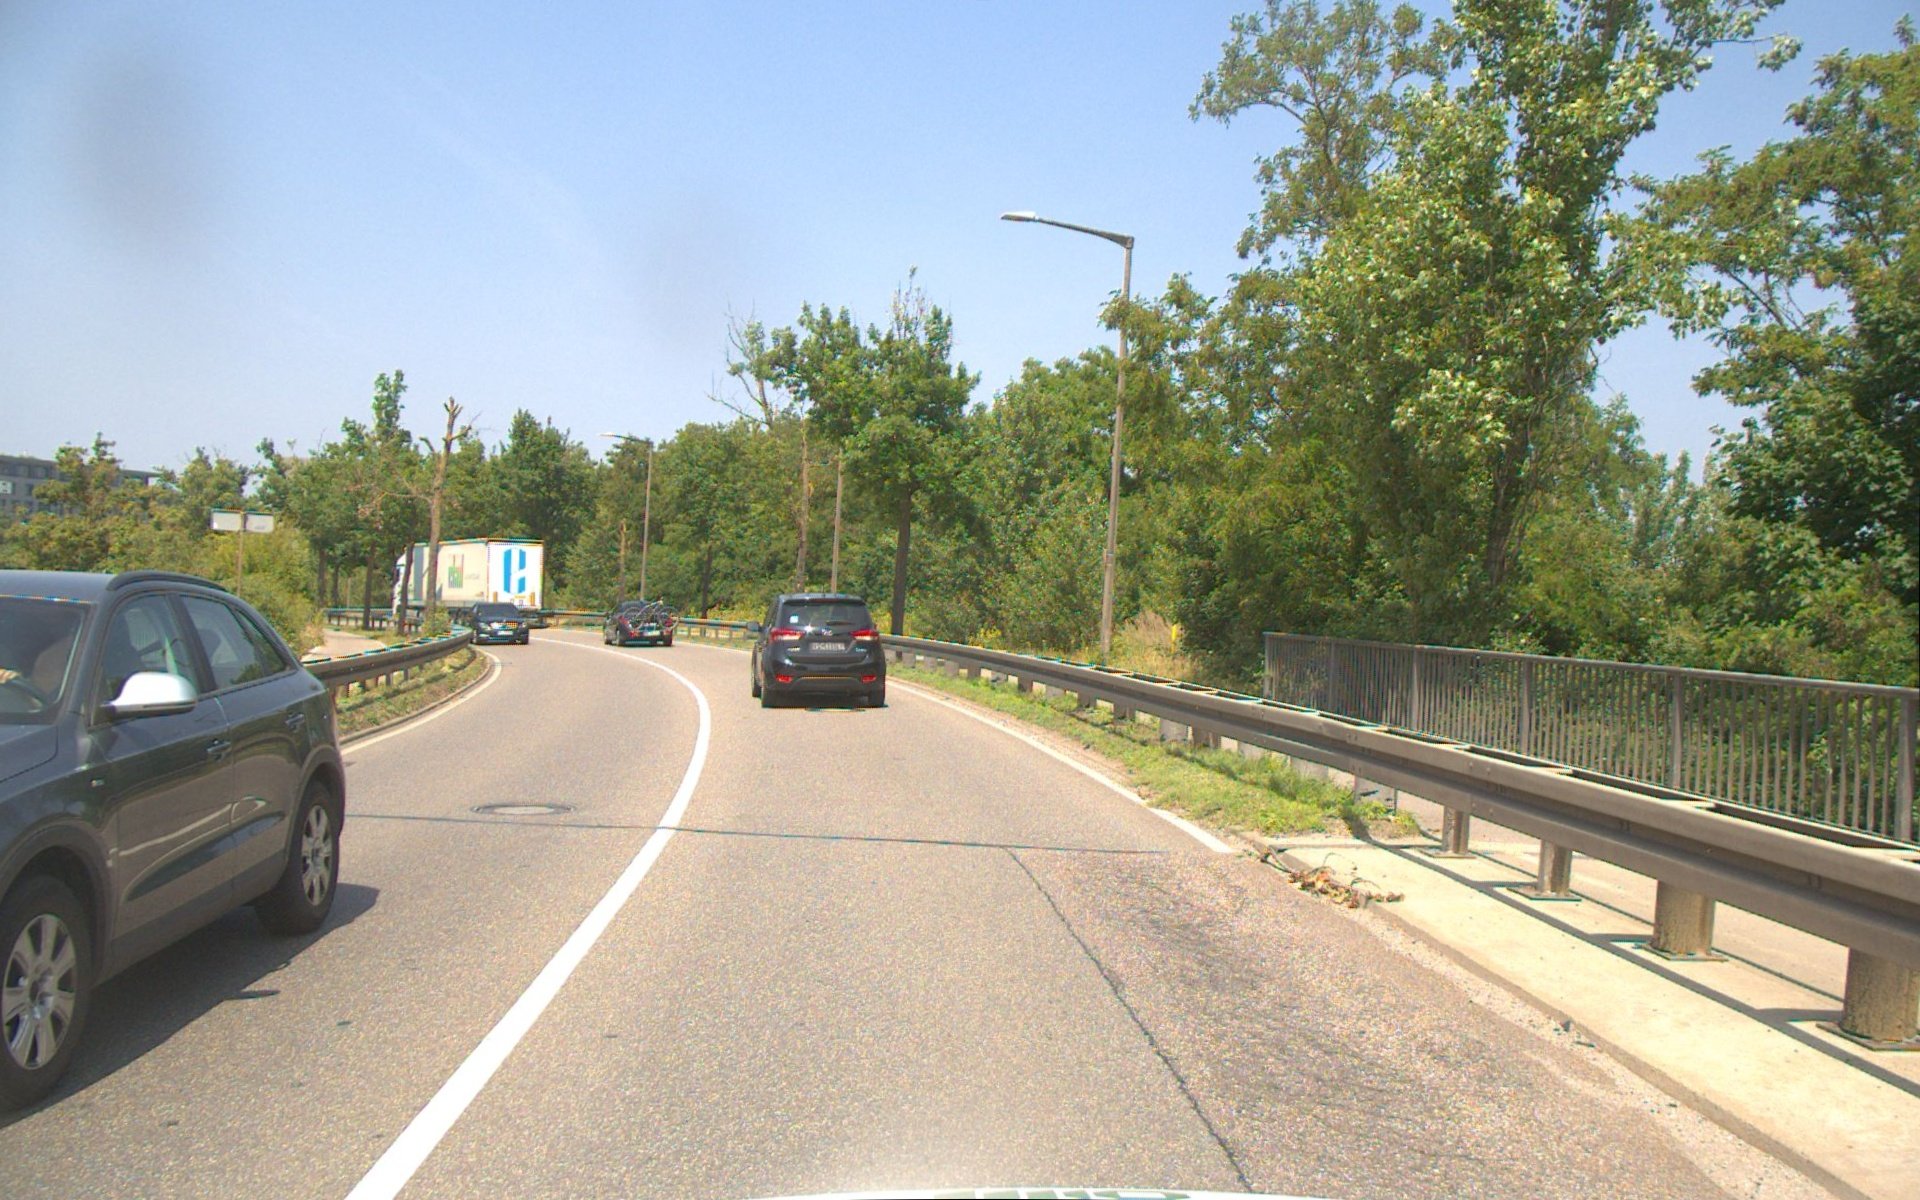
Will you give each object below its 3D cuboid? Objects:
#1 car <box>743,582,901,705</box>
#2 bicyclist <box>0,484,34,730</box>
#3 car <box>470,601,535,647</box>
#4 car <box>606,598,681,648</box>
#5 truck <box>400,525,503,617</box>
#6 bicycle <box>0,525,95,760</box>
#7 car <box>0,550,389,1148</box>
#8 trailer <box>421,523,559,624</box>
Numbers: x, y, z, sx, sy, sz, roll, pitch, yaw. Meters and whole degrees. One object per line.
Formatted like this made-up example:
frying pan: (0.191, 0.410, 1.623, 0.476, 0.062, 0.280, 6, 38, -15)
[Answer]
car: (-2.106, 0.573, 24.301, 1.887, 1.601, 3.881, 1, 1, -11)
bicyclist: (-7.820, 0.048, 13.082, 0.612, 1.919, 0.711, 1, 1, -7)
car: (-15.565, 0.791, 56.134, 1.653, 1.468, 4.101, 0, 0, -22)
car: (-10.206, 0.717, 53.171, 1.980, 1.454, 3.759, 1, 1, -17)
truck: (-26.068, -1.484, 84.549, 3.537, 4.518, 6.446, 0, 1, -31)
bicycle: (-7.876, 0.313, 13.497, 0.684, 1.833, 2.178, 1, 1, -6)
car: (-3.534, 0.602, 5.959, 1.787, 1.563, 4.191, 1, 1, -5)
trailer: (-22.568, -1.301, 78.854, 3.533, 4.460, 11.323, 0, 1, -31)
